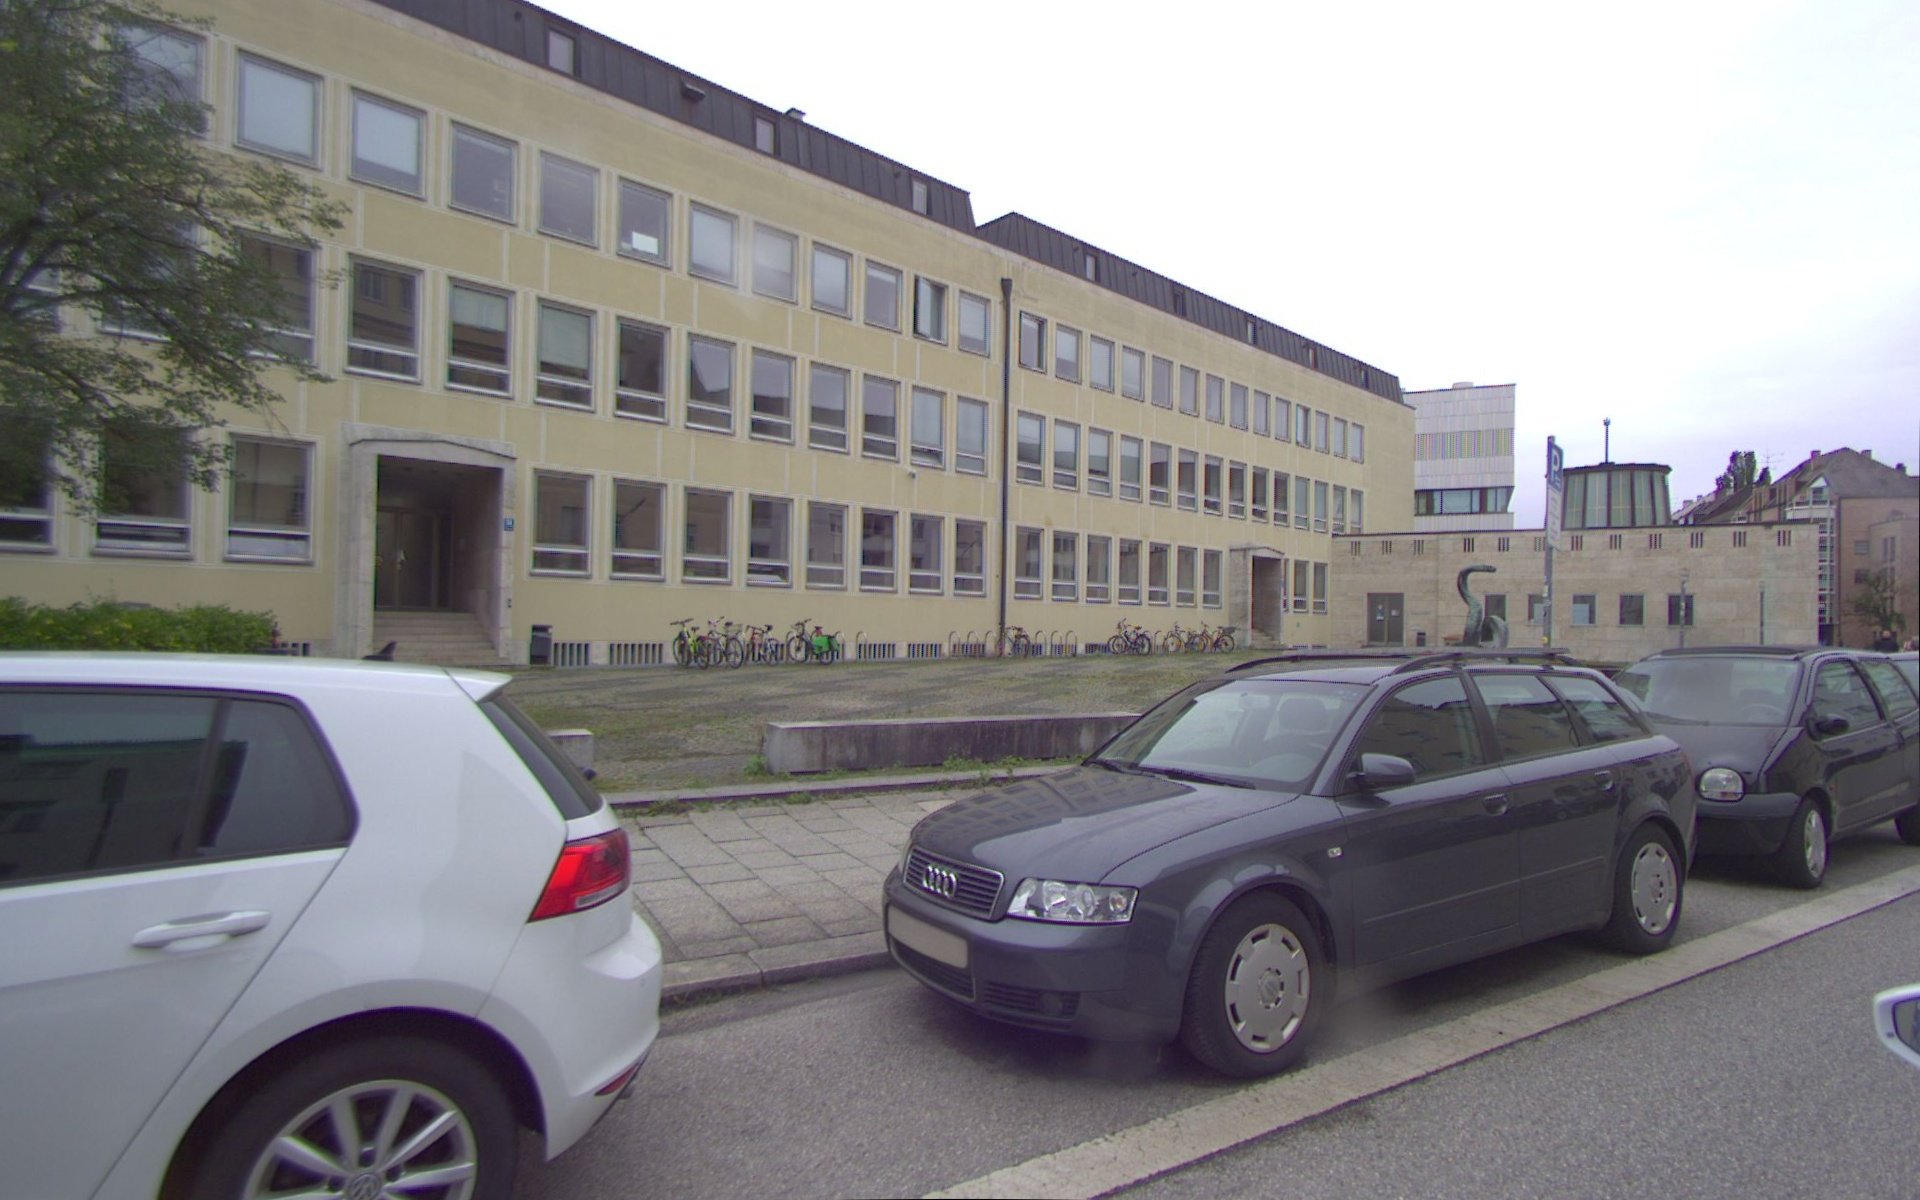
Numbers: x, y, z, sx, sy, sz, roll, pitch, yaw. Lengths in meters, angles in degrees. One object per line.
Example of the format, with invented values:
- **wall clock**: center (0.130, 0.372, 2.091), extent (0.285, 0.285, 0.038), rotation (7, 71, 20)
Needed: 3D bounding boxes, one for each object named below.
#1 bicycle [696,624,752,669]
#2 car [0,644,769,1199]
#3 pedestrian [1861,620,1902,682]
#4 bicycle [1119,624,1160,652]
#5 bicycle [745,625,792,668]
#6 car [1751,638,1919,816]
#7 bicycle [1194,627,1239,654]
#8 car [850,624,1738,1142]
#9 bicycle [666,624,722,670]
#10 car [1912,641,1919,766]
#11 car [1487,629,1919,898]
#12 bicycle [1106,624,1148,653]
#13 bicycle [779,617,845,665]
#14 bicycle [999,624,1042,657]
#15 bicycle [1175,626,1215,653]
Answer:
- **bicycle**: center (-5.571, 1.068, 23.603), extent (0.411, 0.957, 1.840), rotation (1, 0, -43)
- **car**: center (-2.736, 0.817, 2.182), extent (4.247, 1.441, 1.732), rotation (2, -3, -32)
- **pedestrian**: center (28.869, 1.573, 31.478), extent (0.830, 1.891, 0.712), rotation (1, 0, 33)
- **bicycle**: center (6.380, 1.344, 35.782), extent (1.455, 0.957, 0.412), rotation (2, 0, 45)
- **bicycle**: center (-4.683, 1.119, 24.541), extent (0.411, 0.957, 1.393), rotation (1, 0, -44)
- **car**: center (9.660, 1.112, 9.832), extent (4.421, 1.484, 1.763), rotation (1, -3, -35)
- **bicycle**: center (9.891, 1.550, 38.704), extent (1.689, 0.957, 0.412), rotation (2, 0, 45)
- **car**: center (1.739, 0.902, 4.751), extent (4.226, 1.514, 1.623), rotation (1, -3, -31)
- **bicycle**: center (-6.144, 1.057, 23.132), extent (0.411, 0.957, 1.934), rotation (1, 0, -41)
- **car**: center (13.028, 1.229, 12.215), extent (2.857, 1.484, 1.510), rotation (1, -3, -35)
- **car**: center (5.666, 0.997, 7.320), extent (3.563, 1.514, 1.623), rotation (1, -3, -32)
- **bicycle**: center (5.847, 1.334, 35.142), extent (1.455, 0.957, 0.412), rotation (2, 0, 45)
- **bicycle**: center (-3.799, 1.027, 25.672), extent (1.826, 1.110, 0.698), rotation (2, 0, 45)
- **bicycle**: center (1.861, 1.260, 31.195), extent (1.392, 0.957, 0.412), rotation (2, 0, 45)
- **bicycle**: center (8.824, 1.486, 37.778), extent (1.455, 0.957, 0.412), rotation (2, 0, 45)
